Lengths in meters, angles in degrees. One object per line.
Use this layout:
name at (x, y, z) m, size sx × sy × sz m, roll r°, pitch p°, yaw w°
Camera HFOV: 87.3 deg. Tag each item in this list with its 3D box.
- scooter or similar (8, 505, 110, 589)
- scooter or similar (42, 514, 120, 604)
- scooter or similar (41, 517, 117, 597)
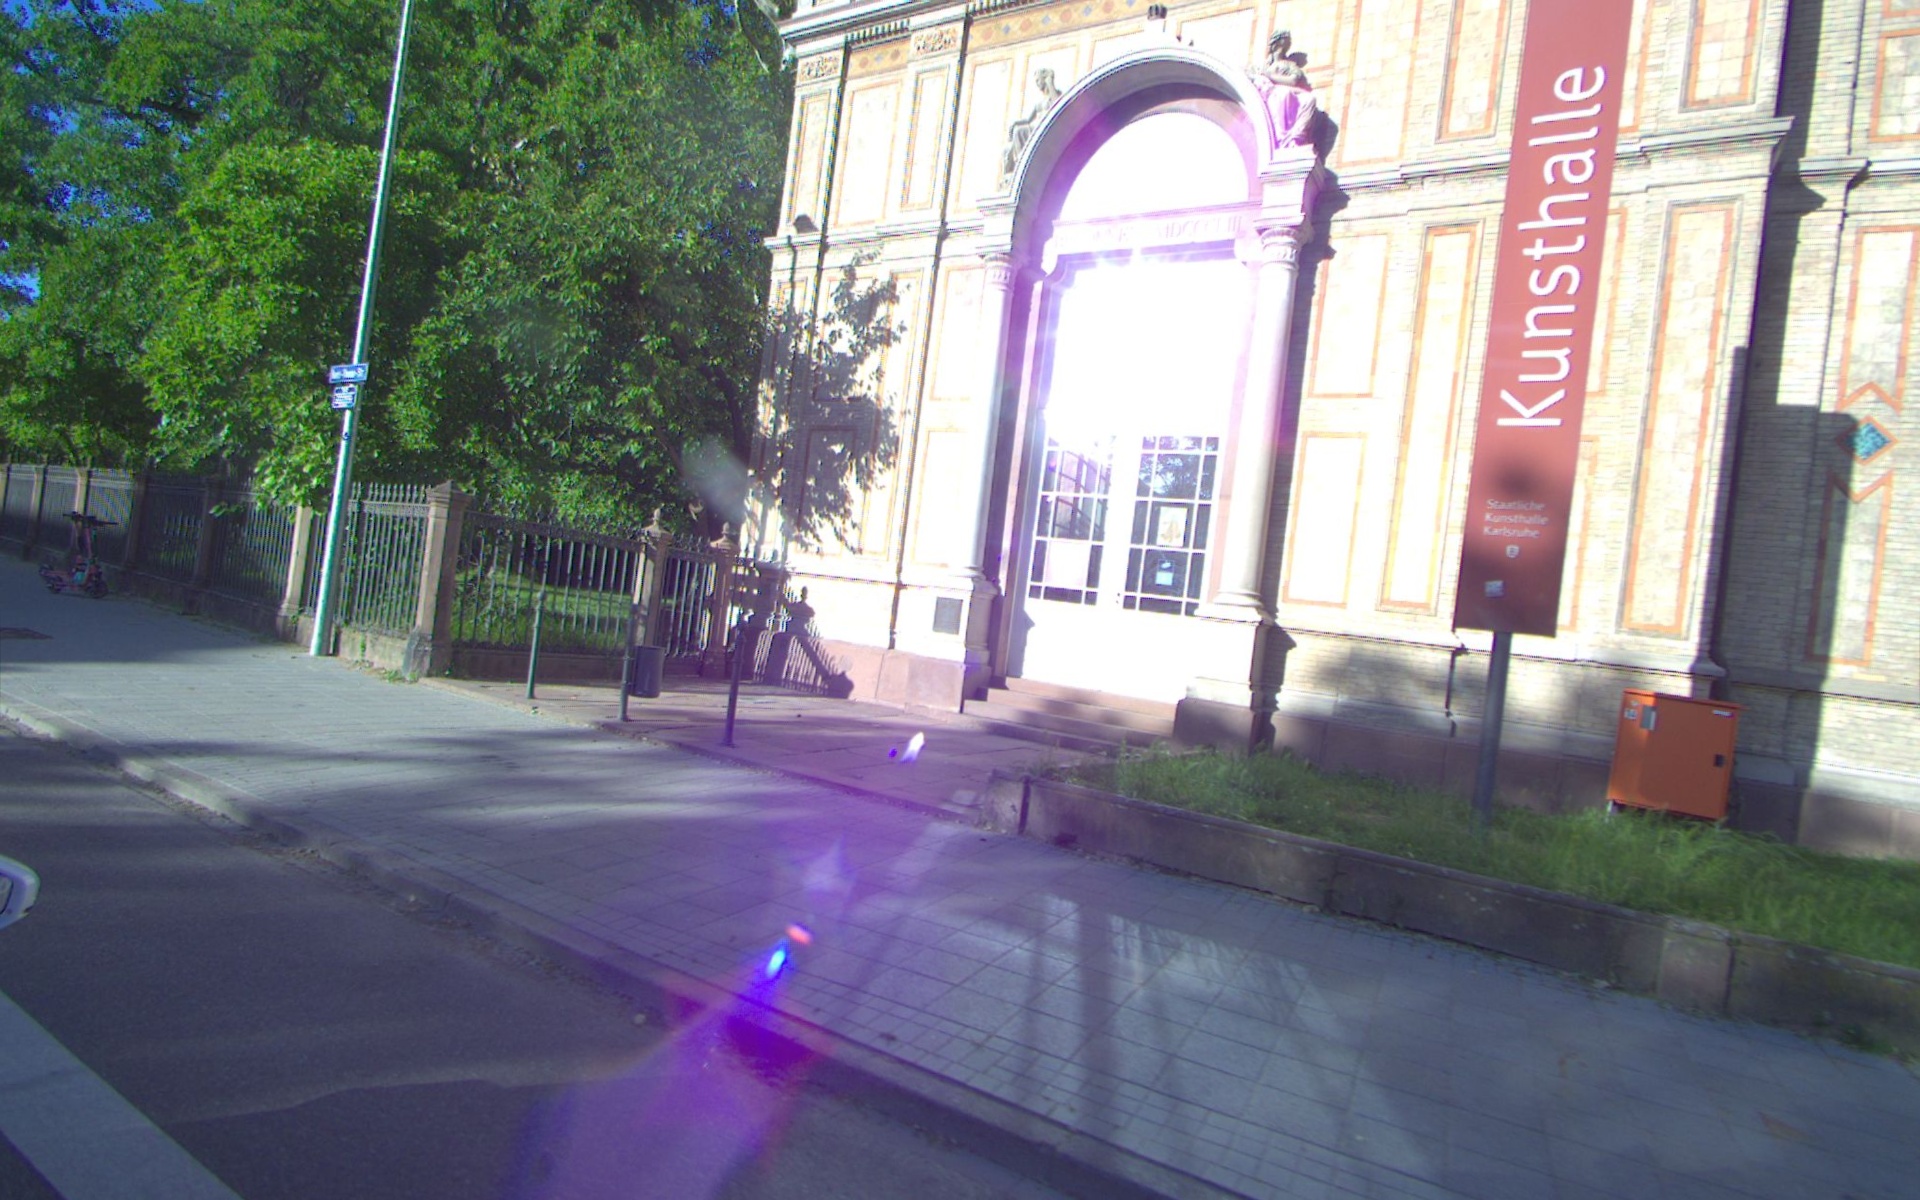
scooter or similar at (-15.600, -0.911, 17.414) m, size 1.528 × 1.258 × 0.549 m, roll 7°, pitch 1°, yaw 18°
scooter or similar at (-13.497, -0.634, 15.445) m, size 1.139 × 1.255 × 0.297 m, roll 7°, pitch 1°, yaw 19°
scooter or similar at (-14.180, -0.698, 16.190) m, size 1.314 × 1.136 × 0.481 m, roll 7°, pitch 1°, yaw 32°
